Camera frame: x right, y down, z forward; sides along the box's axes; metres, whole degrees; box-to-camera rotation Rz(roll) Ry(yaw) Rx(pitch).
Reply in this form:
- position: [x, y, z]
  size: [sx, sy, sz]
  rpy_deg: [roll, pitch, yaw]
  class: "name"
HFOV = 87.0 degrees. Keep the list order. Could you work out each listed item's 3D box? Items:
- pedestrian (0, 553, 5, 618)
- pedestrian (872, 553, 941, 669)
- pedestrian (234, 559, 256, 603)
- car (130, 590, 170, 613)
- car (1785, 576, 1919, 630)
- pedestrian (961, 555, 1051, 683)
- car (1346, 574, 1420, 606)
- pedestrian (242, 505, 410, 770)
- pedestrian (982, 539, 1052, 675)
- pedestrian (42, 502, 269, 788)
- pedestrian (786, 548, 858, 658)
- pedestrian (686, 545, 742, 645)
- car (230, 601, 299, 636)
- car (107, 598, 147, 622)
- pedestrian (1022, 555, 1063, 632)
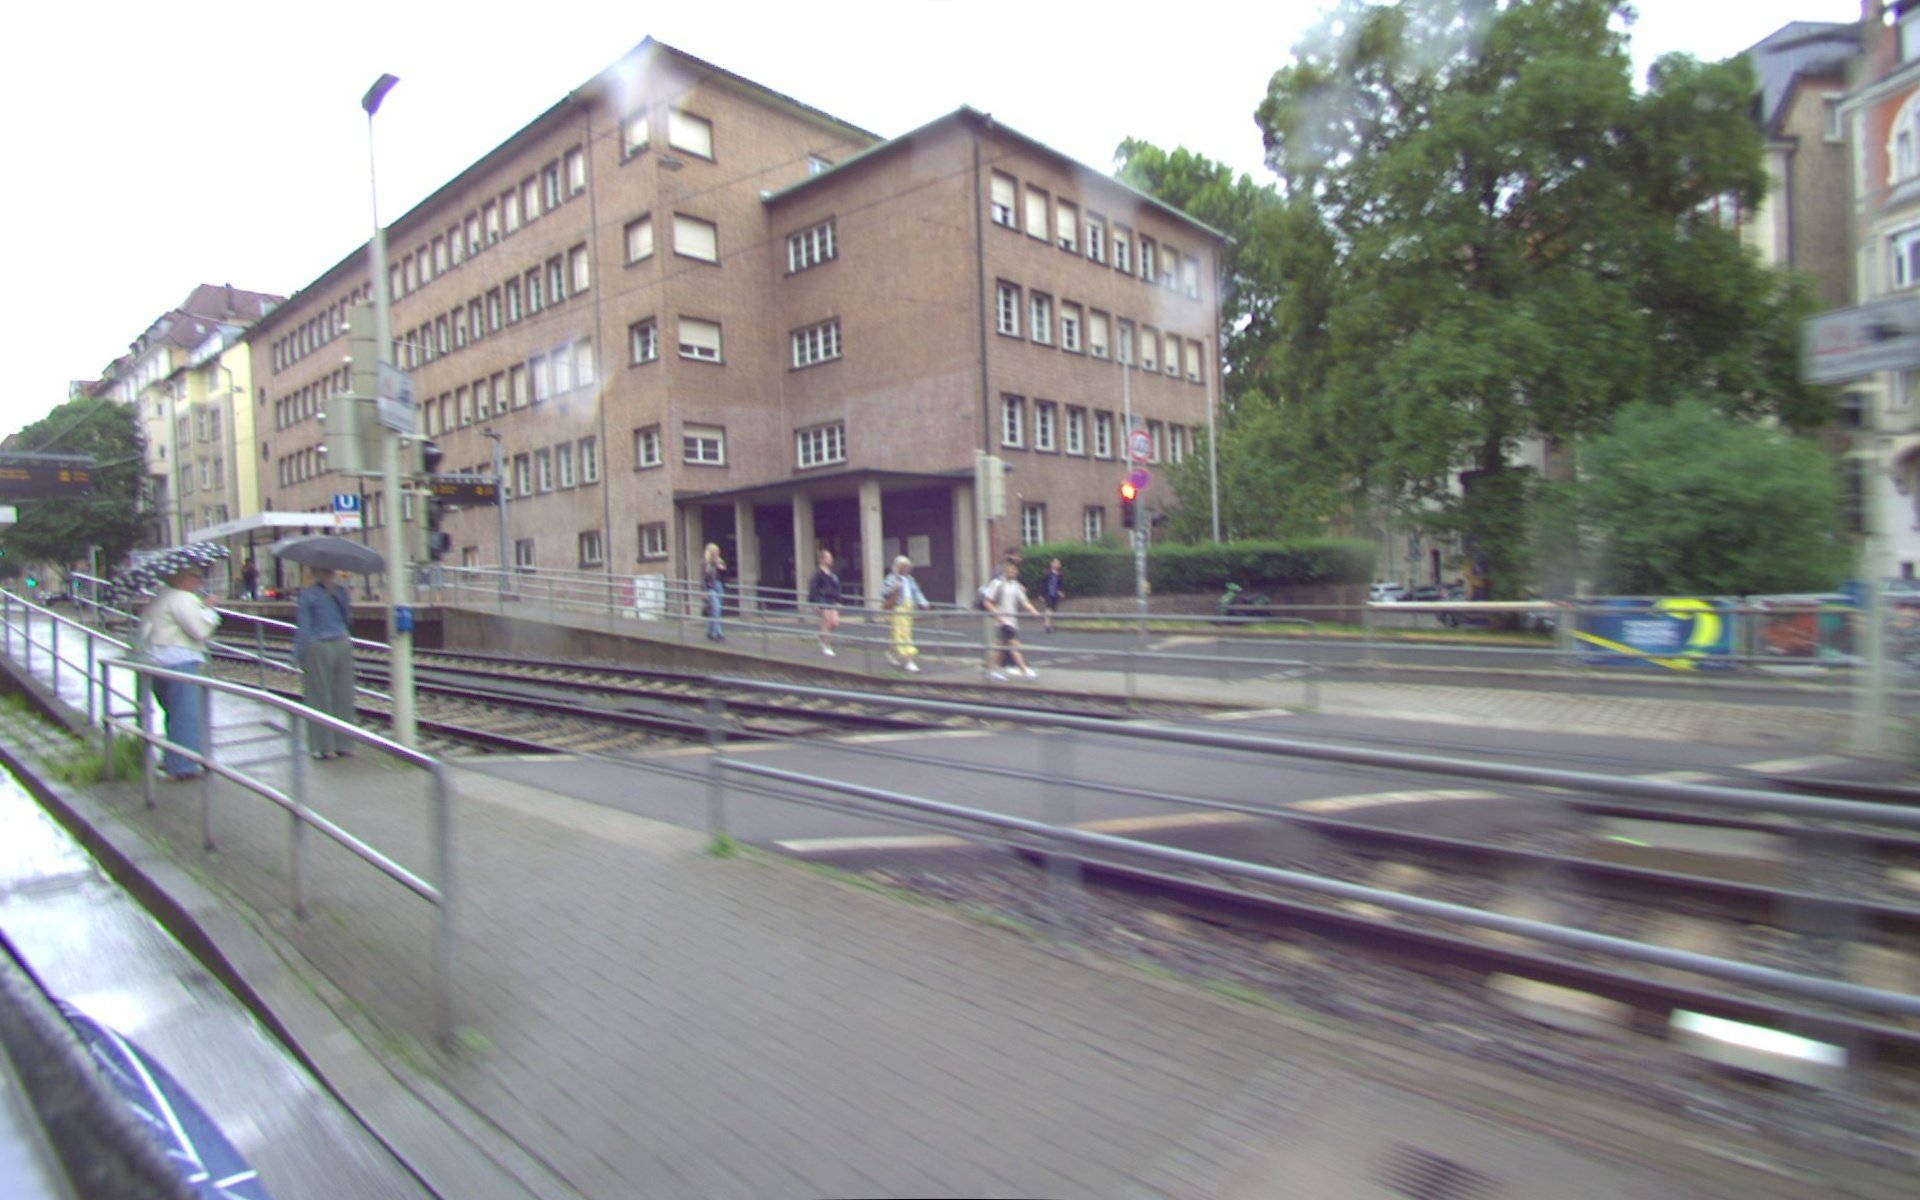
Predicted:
- position: [-27.139, -0.390, 28.201]
  size: [0.710, 1.788, 0.637]
  rpy_deg: [0, 2, 42]
  class: "pedestrian"
- position: [-0.784, 0.145, 14.974]
  size: [0.640, 1.659, 0.736]
  rpy_deg: [0, 3, 42]
  class: "pedestrian"
- position: [-28.160, -0.728, 39.856]
  size: [0.491, 1.722, 0.581]
  rpy_deg: [0, 0, 41]
  class: "pedestrian"
- position: [-53.342, 0.084, 66.605]
  size: [3.111, 1.477, 1.626]
  rpy_deg: [0, 2, 43]
  class: "car"
- position: [25.516, 0.063, 27.980]
  size: [1.715, 1.413, 4.150]
  rpy_deg: [0, 0, -7]
  class: "car"
- position: [0.602, 0.227, 13.210]
  size: [0.956, 1.595, 0.685]
  rpy_deg: [1, 1, 41]
  class: "pedestrian"
- position: [23.313, -0.556, 55.929]
  size: [1.968, 1.643, 4.007]
  rpy_deg: [0, 1, -7]
  class: "car"
- position: [-5.250, 0.269, 8.382]
  size: [0.947, 2.028, 0.887]
  rpy_deg: [0, 2, 42]
  class: "pedestrian"
- position: [0.787, 0.116, 14.044]
  size: [0.786, 1.832, 0.514]
  rpy_deg: [2, -6, -30]
  class: "pedestrian"
- position: [-6.102, 0.310, 7.751]
  size: [0.915, 2.028, 0.948]
  rpy_deg: [-2, 2, -3]
  class: "pedestrian"
- position: [-2.243, 0.020, 16.461]
  size: [0.882, 1.708, 0.736]
  rpy_deg: [3, 5, 41]
  class: "pedestrian"
- position: [-4.383, -0.115, 18.045]
  size: [0.688, 1.710, 0.658]
  rpy_deg: [4, 6, 39]
  class: "pedestrian"
- position: [-33.316, 0.850, 48.407]
  size: [4.763, 1.508, 1.626]
  rpy_deg: [0, 1, 42]
  class: "car"
- position: [-59.802, 0.705, 72.642]
  size: [4.339, 1.592, 1.626]
  rpy_deg: [0, 2, 44]
  class: "car"
- position: [1.832, -0.138, 22.466]
  size: [0.688, 1.688, 0.597]
  rpy_deg: [0, 0, 39]
  class: "pedestrian"
